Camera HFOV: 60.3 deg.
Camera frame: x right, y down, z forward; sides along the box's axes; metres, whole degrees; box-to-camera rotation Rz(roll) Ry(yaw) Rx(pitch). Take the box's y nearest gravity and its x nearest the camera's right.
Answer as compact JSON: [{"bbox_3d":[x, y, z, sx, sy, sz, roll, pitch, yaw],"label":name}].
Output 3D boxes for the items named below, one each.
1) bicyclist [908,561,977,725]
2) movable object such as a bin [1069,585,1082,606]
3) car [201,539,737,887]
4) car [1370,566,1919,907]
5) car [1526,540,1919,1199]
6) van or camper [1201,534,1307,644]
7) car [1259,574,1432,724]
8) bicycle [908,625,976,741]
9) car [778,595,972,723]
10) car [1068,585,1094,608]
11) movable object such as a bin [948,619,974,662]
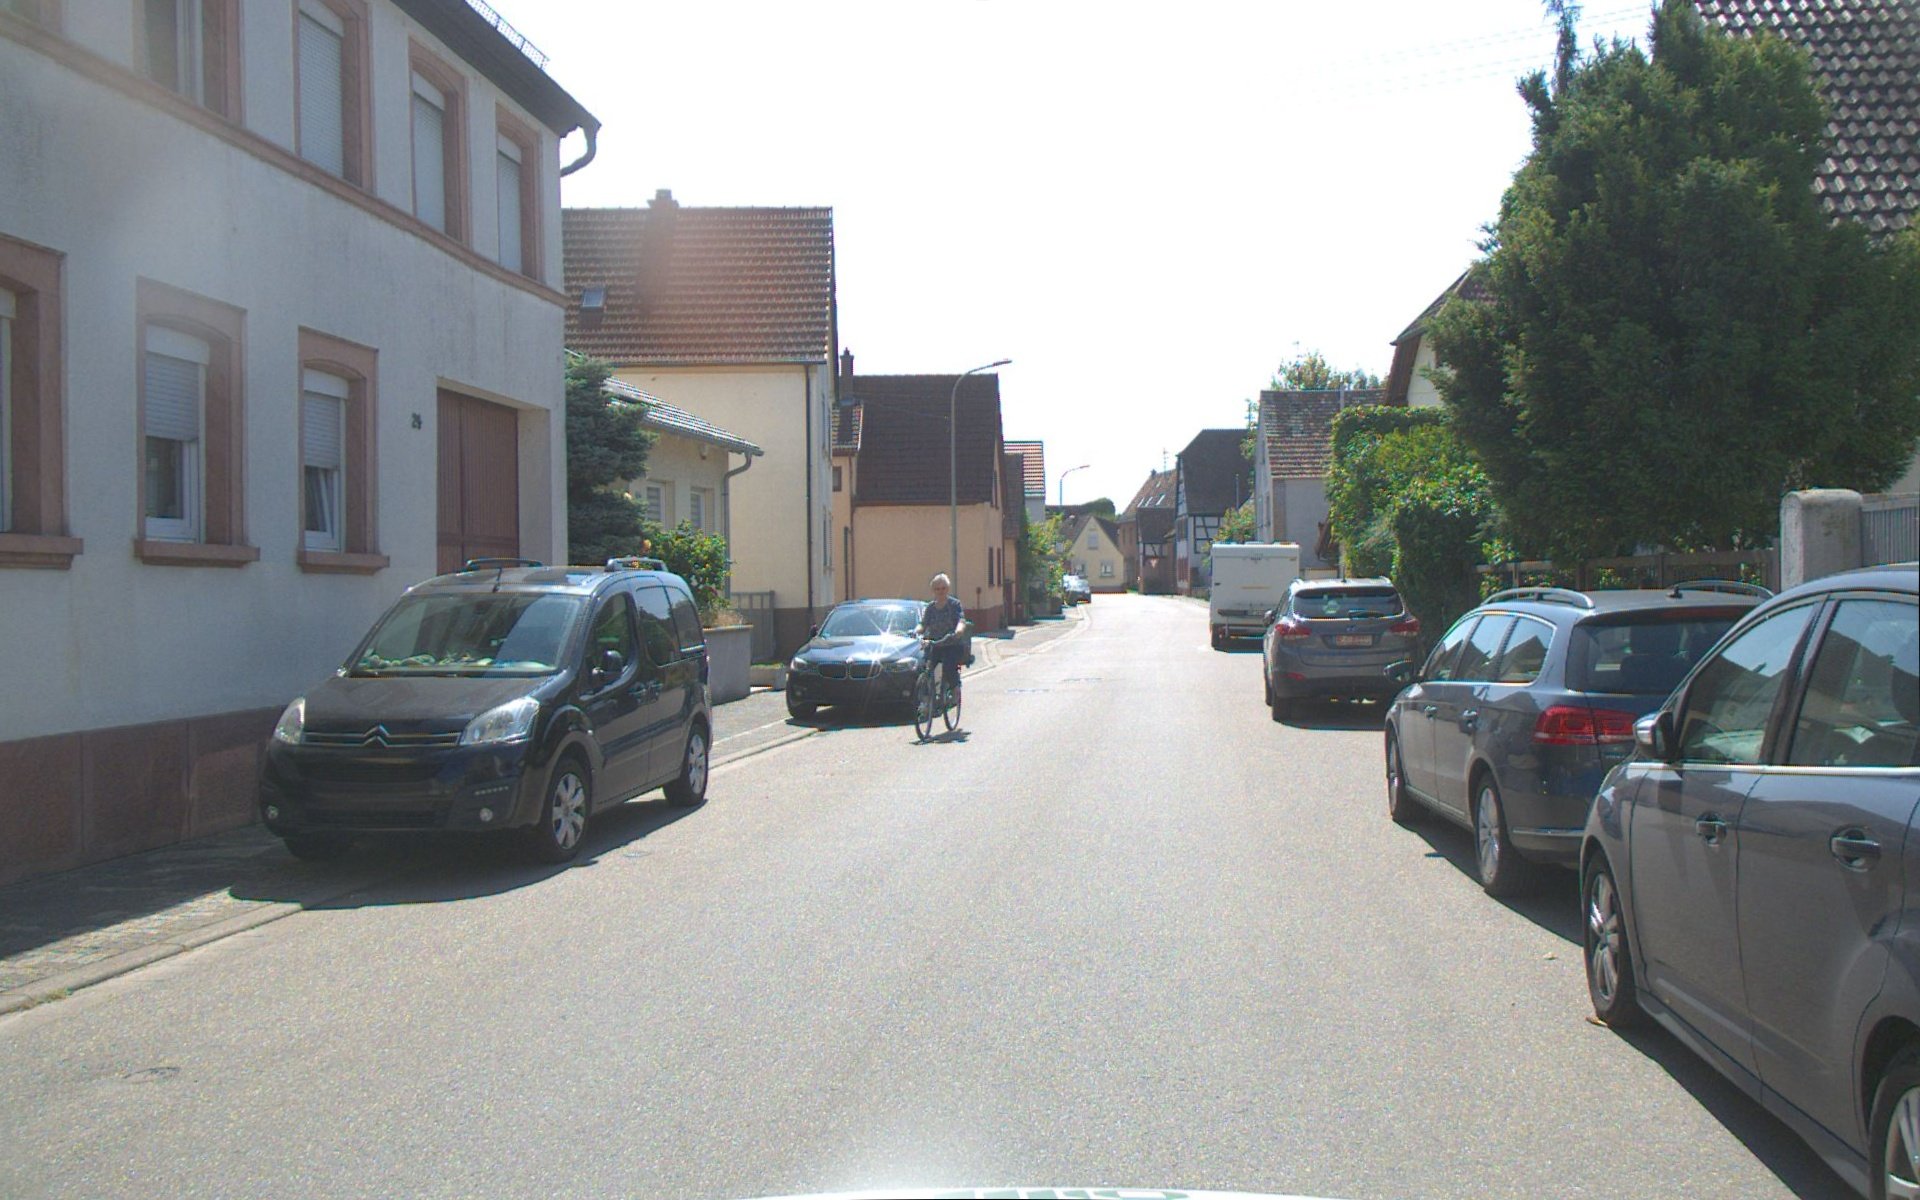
[{"bbox_3d":[-0.190,0.477,18.670,0.689,1.802,0.625,-1,0,4],"label":"bicyclist"},{"bbox_3d":[6.733,-0.257,96.131,0.674,1.206,0.715,-2,0,7],"label":"movable object such as a bin"},{"bbox_3d":[-2.986,0.608,11.168,1.795,1.869,4.357,-1,0,8],"label":"car"},{"bbox_3d":[3.688,0.615,9.838,1.781,1.535,4.585,-1,0,6],"label":"car"},{"bbox_3d":[2.975,0.645,4.602,1.759,1.587,4.635,-1,0,8],"label":"car"},{"bbox_3d":[7.849,-0.297,44.587,2.468,2.744,4.558,-1,0,6],"label":"van or camper"},{"bbox_3d":[4.765,0.529,20.939,1.755,1.659,4.364,-1,1,9],"label":"car"},{"bbox_3d":[-0.182,0.904,18.644,0.577,1.168,1.949,-2,0,4],"label":"bicycle"},{"bbox_3d":[-1.048,0.725,22.891,1.805,1.553,4.769,-1,0,8],"label":"car"},{"bbox_3d":[7.959,-0.245,108.542,1.479,1.461,3.514,-2,0,7],"label":"car"},{"bbox_3d":[0.019,0.919,37.910,0.527,0.966,0.553,0,0,7],"label":"movable object such as a bin"}]
